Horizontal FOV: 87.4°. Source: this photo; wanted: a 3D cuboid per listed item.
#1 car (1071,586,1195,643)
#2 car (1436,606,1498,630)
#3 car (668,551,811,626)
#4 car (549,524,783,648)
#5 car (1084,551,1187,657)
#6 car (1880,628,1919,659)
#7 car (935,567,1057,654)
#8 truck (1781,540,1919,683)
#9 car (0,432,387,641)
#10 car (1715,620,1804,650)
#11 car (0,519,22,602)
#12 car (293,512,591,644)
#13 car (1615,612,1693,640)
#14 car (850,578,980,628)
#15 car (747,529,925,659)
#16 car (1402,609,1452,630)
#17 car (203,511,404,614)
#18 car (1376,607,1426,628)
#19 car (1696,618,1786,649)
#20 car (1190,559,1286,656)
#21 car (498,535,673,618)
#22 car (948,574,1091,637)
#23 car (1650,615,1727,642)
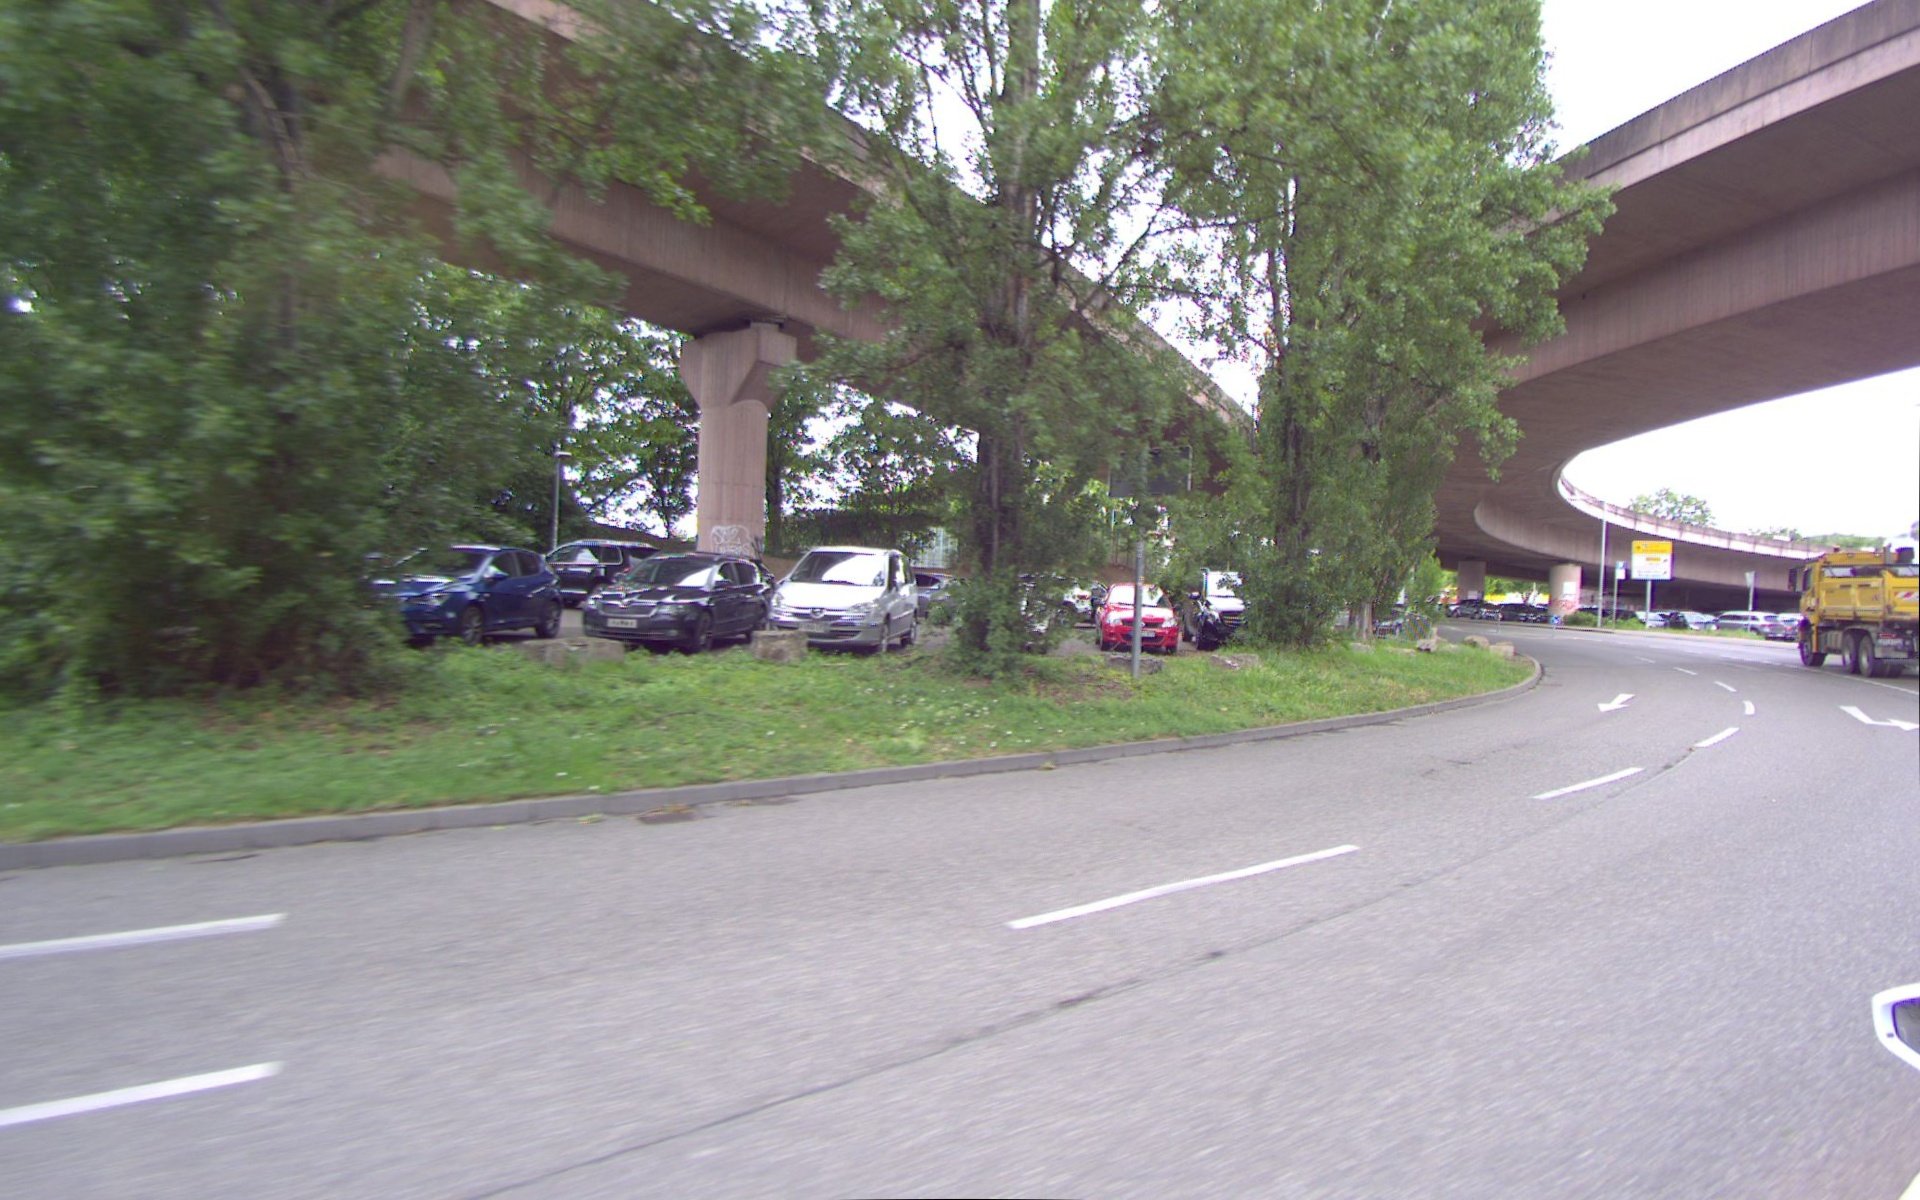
[{"bbox_3d":[6.106,0.560,35.408,4.023,1.702,1.827,-4,-5,19],"label":"car"},{"bbox_3d":[37.431,1.323,74.254,1.862,1.654,3.938,3,-1,-18],"label":"car"},{"bbox_3d":[-6.109,-0.362,27.757,3.621,1.691,1.678,6,4,29],"label":"car"},{"bbox_3d":[-4.451,-0.097,16.041,1.959,1.573,4.376,1,-4,7],"label":"car"},{"bbox_3d":[3.834,0.084,22.315,1.959,2.040,4.452,2,0,8],"label":"car"},{"bbox_3d":[47.437,2.156,48.526,1.969,1.461,3.984,3,-1,-18],"label":"car"},{"bbox_3d":[0.872,0.253,20.254,2.079,1.462,4.795,2,-1,6],"label":"car"},{"bbox_3d":[25.926,0.290,28.079,2.882,3.528,8.234,-1,-1,27],"label":"truck"},{"bbox_3d":[-10.189,-0.671,12.821,2.214,2.099,5.110,4,0,8],"label":"car"},{"bbox_3d":[48.084,2.064,60.487,1.749,1.654,3.867,3,-1,-18],"label":"car"},{"bbox_3d":[-19.475,-0.819,18.369,4.560,1.454,1.998,2,-1,28],"label":"car"},{"bbox_3d":[-7.304,-0.185,14.803,1.775,1.503,4.454,1,-4,4],"label":"car"},{"bbox_3d":[44.606,1.626,64.624,1.749,1.654,3.867,3,-1,-18],"label":"car"},{"bbox_3d":[-1.279,0.092,29.593,3.613,1.373,1.663,1,-1,6],"label":"car"},{"bbox_3d":[-1.903,-0.038,16.902,1.975,1.814,4.403,2,-1,6],"label":"car"},{"bbox_3d":[43.197,1.761,93.019,1.752,1.787,4.021,3,-1,-24],"label":"car"},{"bbox_3d":[-14.288,-0.726,21.835,4.223,1.824,1.844,-3,-4,28],"label":"car"},{"bbox_3d":[40.270,1.581,91.841,1.752,1.787,4.021,3,-1,-24],"label":"car"},{"bbox_3d":[45.962,1.923,59.210,1.749,1.654,3.866,3,-1,-19],"label":"car"},{"bbox_3d":[6.493,0.169,23.823,1.959,2.040,4.002,2,0,13],"label":"car"},{"bbox_3d":[-9.369,-0.620,25.150,4.003,1.735,1.657,5,4,22],"label":"car"},{"bbox_3d":[1.927,0.189,31.777,4.359,1.807,2.002,1,-3,8],"label":"car"},{"bbox_3d":[48.609,1.893,67.070,1.749,1.654,3.867,3,-1,-18],"label":"car"}]
